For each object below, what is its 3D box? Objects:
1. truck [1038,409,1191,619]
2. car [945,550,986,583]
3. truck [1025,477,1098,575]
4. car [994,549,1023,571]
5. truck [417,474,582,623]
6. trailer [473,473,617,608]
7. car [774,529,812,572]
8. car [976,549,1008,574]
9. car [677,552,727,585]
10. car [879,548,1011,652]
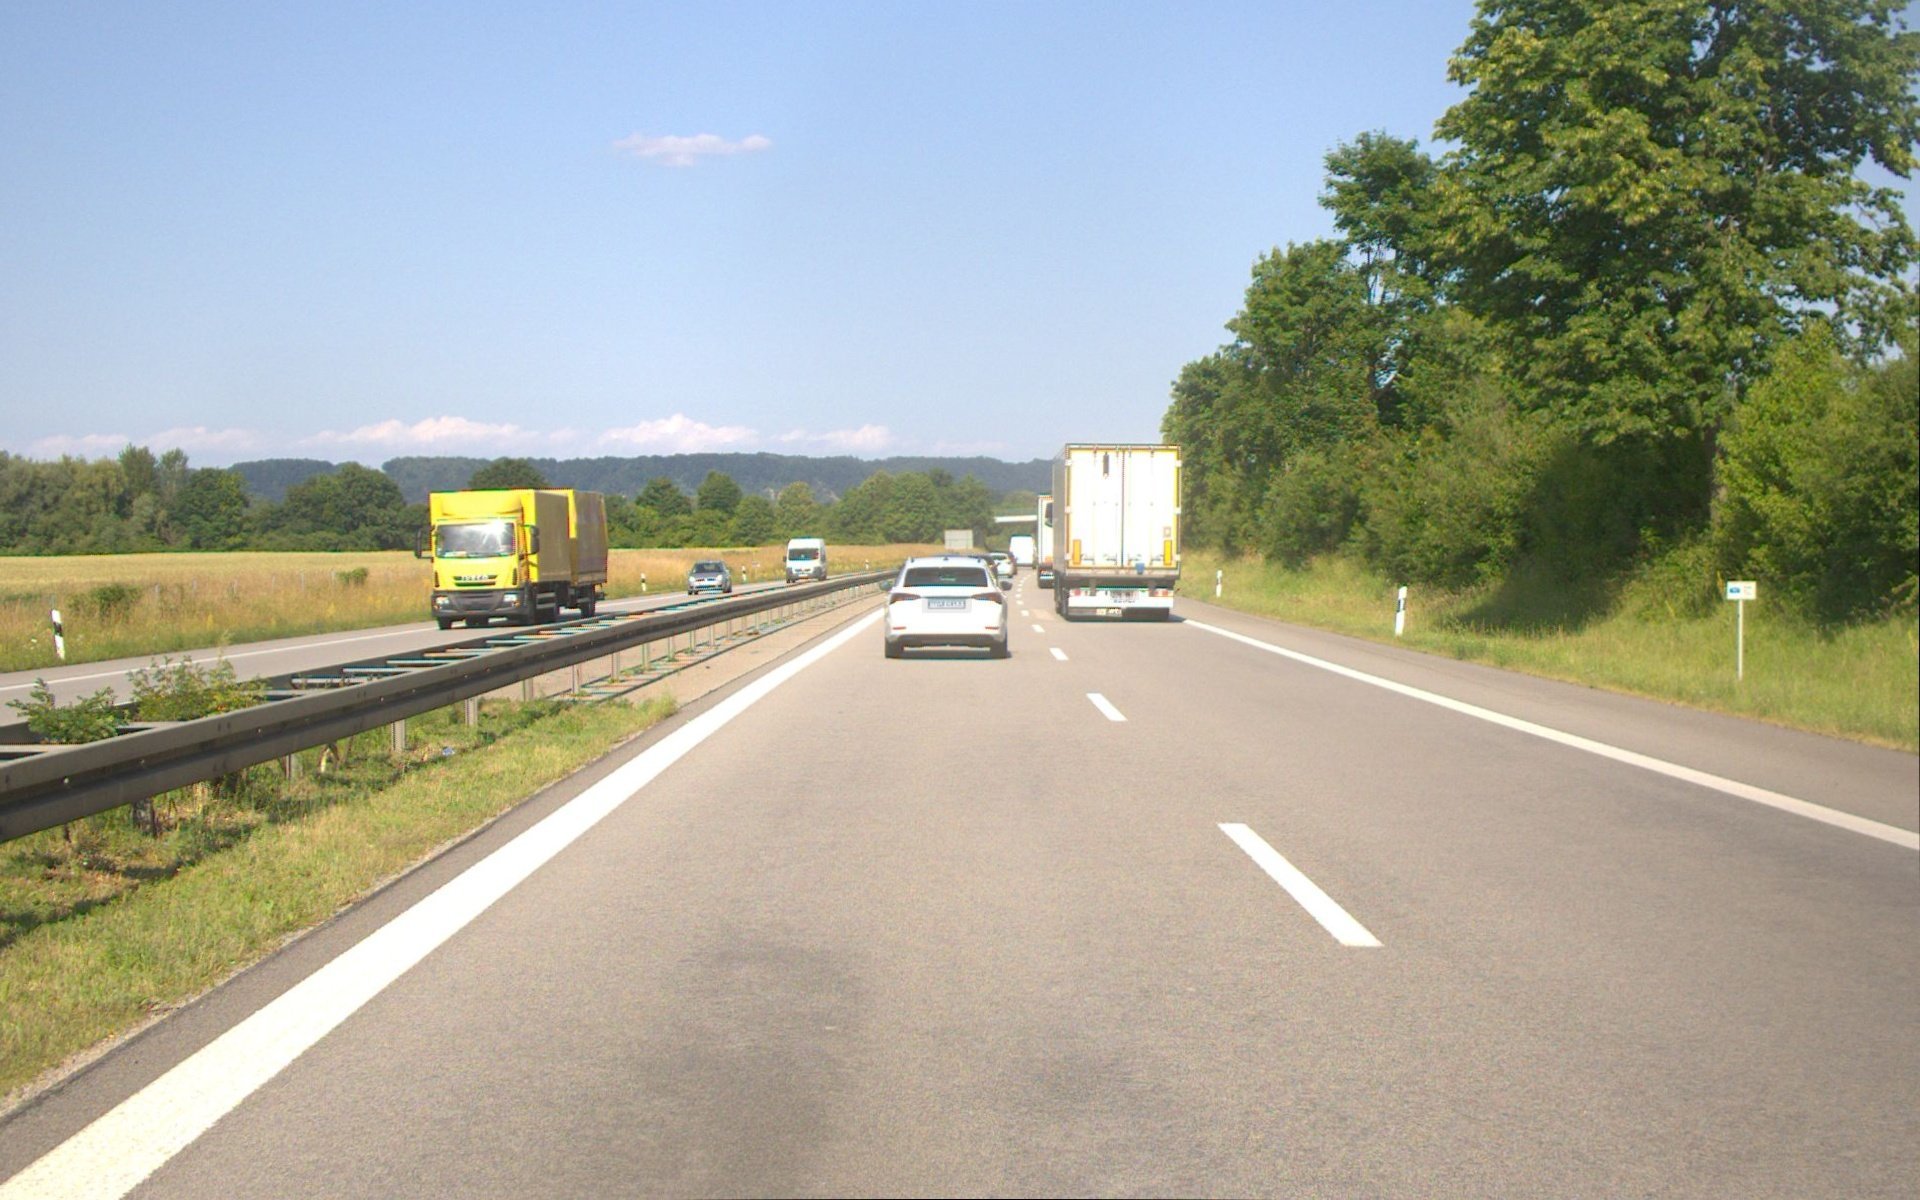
[{"bbox_3d":[3.509,-1.991,80.487,3.152,4.596,8.906,-1,1,0],"label":"truck"},{"bbox_3d":[0.245,-1.476,151.607,1.771,1.416,4.365,0,1,0],"label":"car"},{"bbox_3d":[4.374,-3.205,149.111,3.013,4.101,8.905,-1,1,1],"label":"truck"},{"bbox_3d":[3.142,-2.585,220.276,1.771,1.416,4.365,0,1,2],"label":"car"},{"bbox_3d":[-11.409,-1.285,86.076,2.735,3.371,9.233,-3,1,0],"label":"truck"},{"bbox_3d":[-11.410,-1.640,95.357,2.735,3.448,9.233,-3,1,0],"label":"trailer"},{"bbox_3d":[-9.638,-2.871,198.780,1.925,2.467,5.186,-1,1,0],"label":"car"},{"bbox_3d":[1.835,-2.195,196.758,1.771,1.416,4.365,0,1,0],"label":"car"},{"bbox_3d":[-11.213,-1.396,149.697,1.835,1.371,4.000,-1,1,0],"label":"car"},{"bbox_3d":[-0.257,-0.037,50.926,1.840,1.416,5.255,1,1,-1],"label":"car"}]
